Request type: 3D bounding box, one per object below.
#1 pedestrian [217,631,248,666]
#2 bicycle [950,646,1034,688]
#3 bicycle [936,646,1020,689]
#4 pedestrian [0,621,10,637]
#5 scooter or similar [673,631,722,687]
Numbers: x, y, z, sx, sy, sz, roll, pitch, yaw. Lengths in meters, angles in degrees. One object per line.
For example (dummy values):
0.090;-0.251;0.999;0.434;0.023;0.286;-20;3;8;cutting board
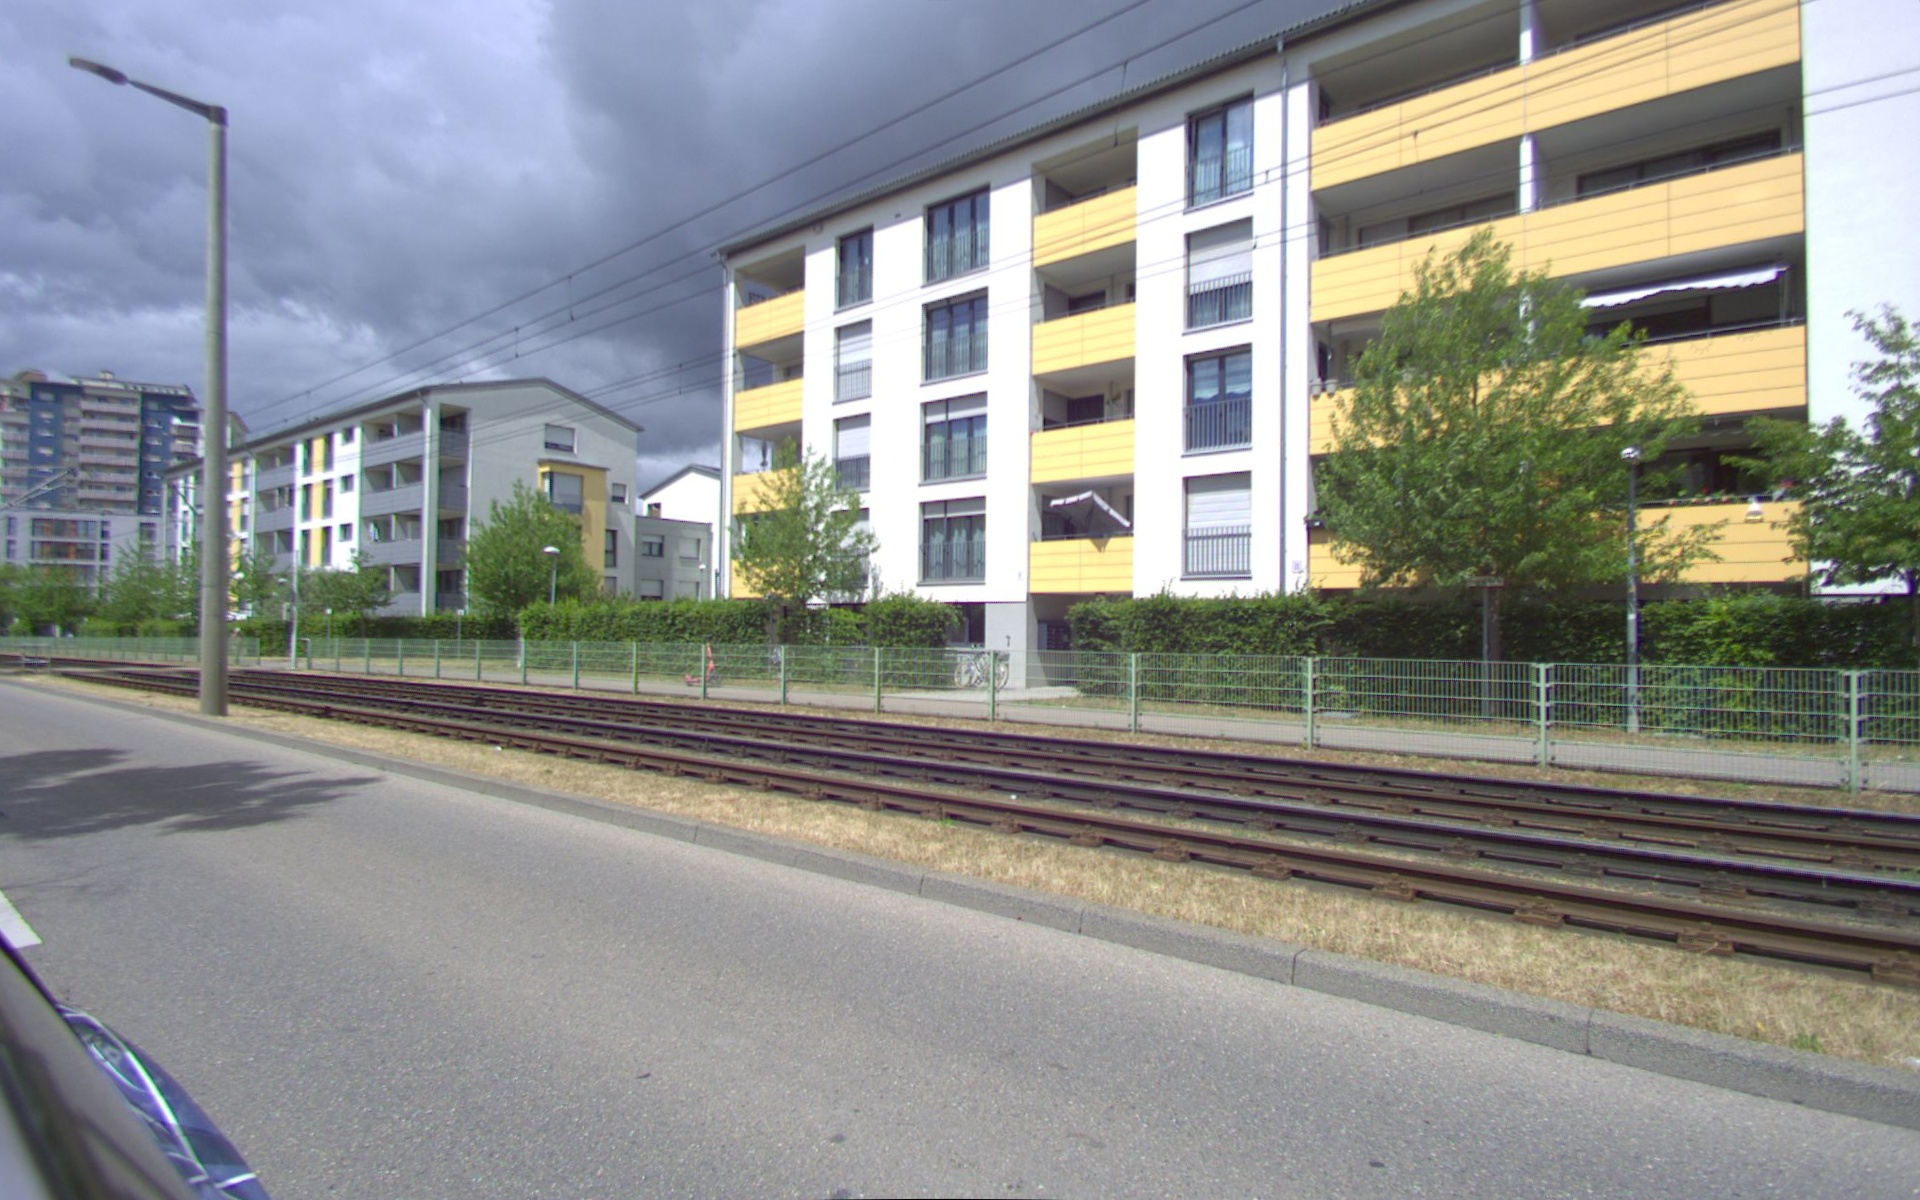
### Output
-31.175;2.078;43.373;0.994;1.494;0.789;-2;-2;37;pedestrian
0.767;1.625;24.878;2.212;0.987;0.549;-2;-2;42;bicycle
0.423;1.610;24.493;2.212;0.987;0.549;-2;-2;42;bicycle
-99.536;3.055;105.389;0.537;1.666;0.740;-2;-2;37;pedestrian
-6.285;1.404;24.210;1.301;1.303;0.485;-2;-2;40;scooter or similar
